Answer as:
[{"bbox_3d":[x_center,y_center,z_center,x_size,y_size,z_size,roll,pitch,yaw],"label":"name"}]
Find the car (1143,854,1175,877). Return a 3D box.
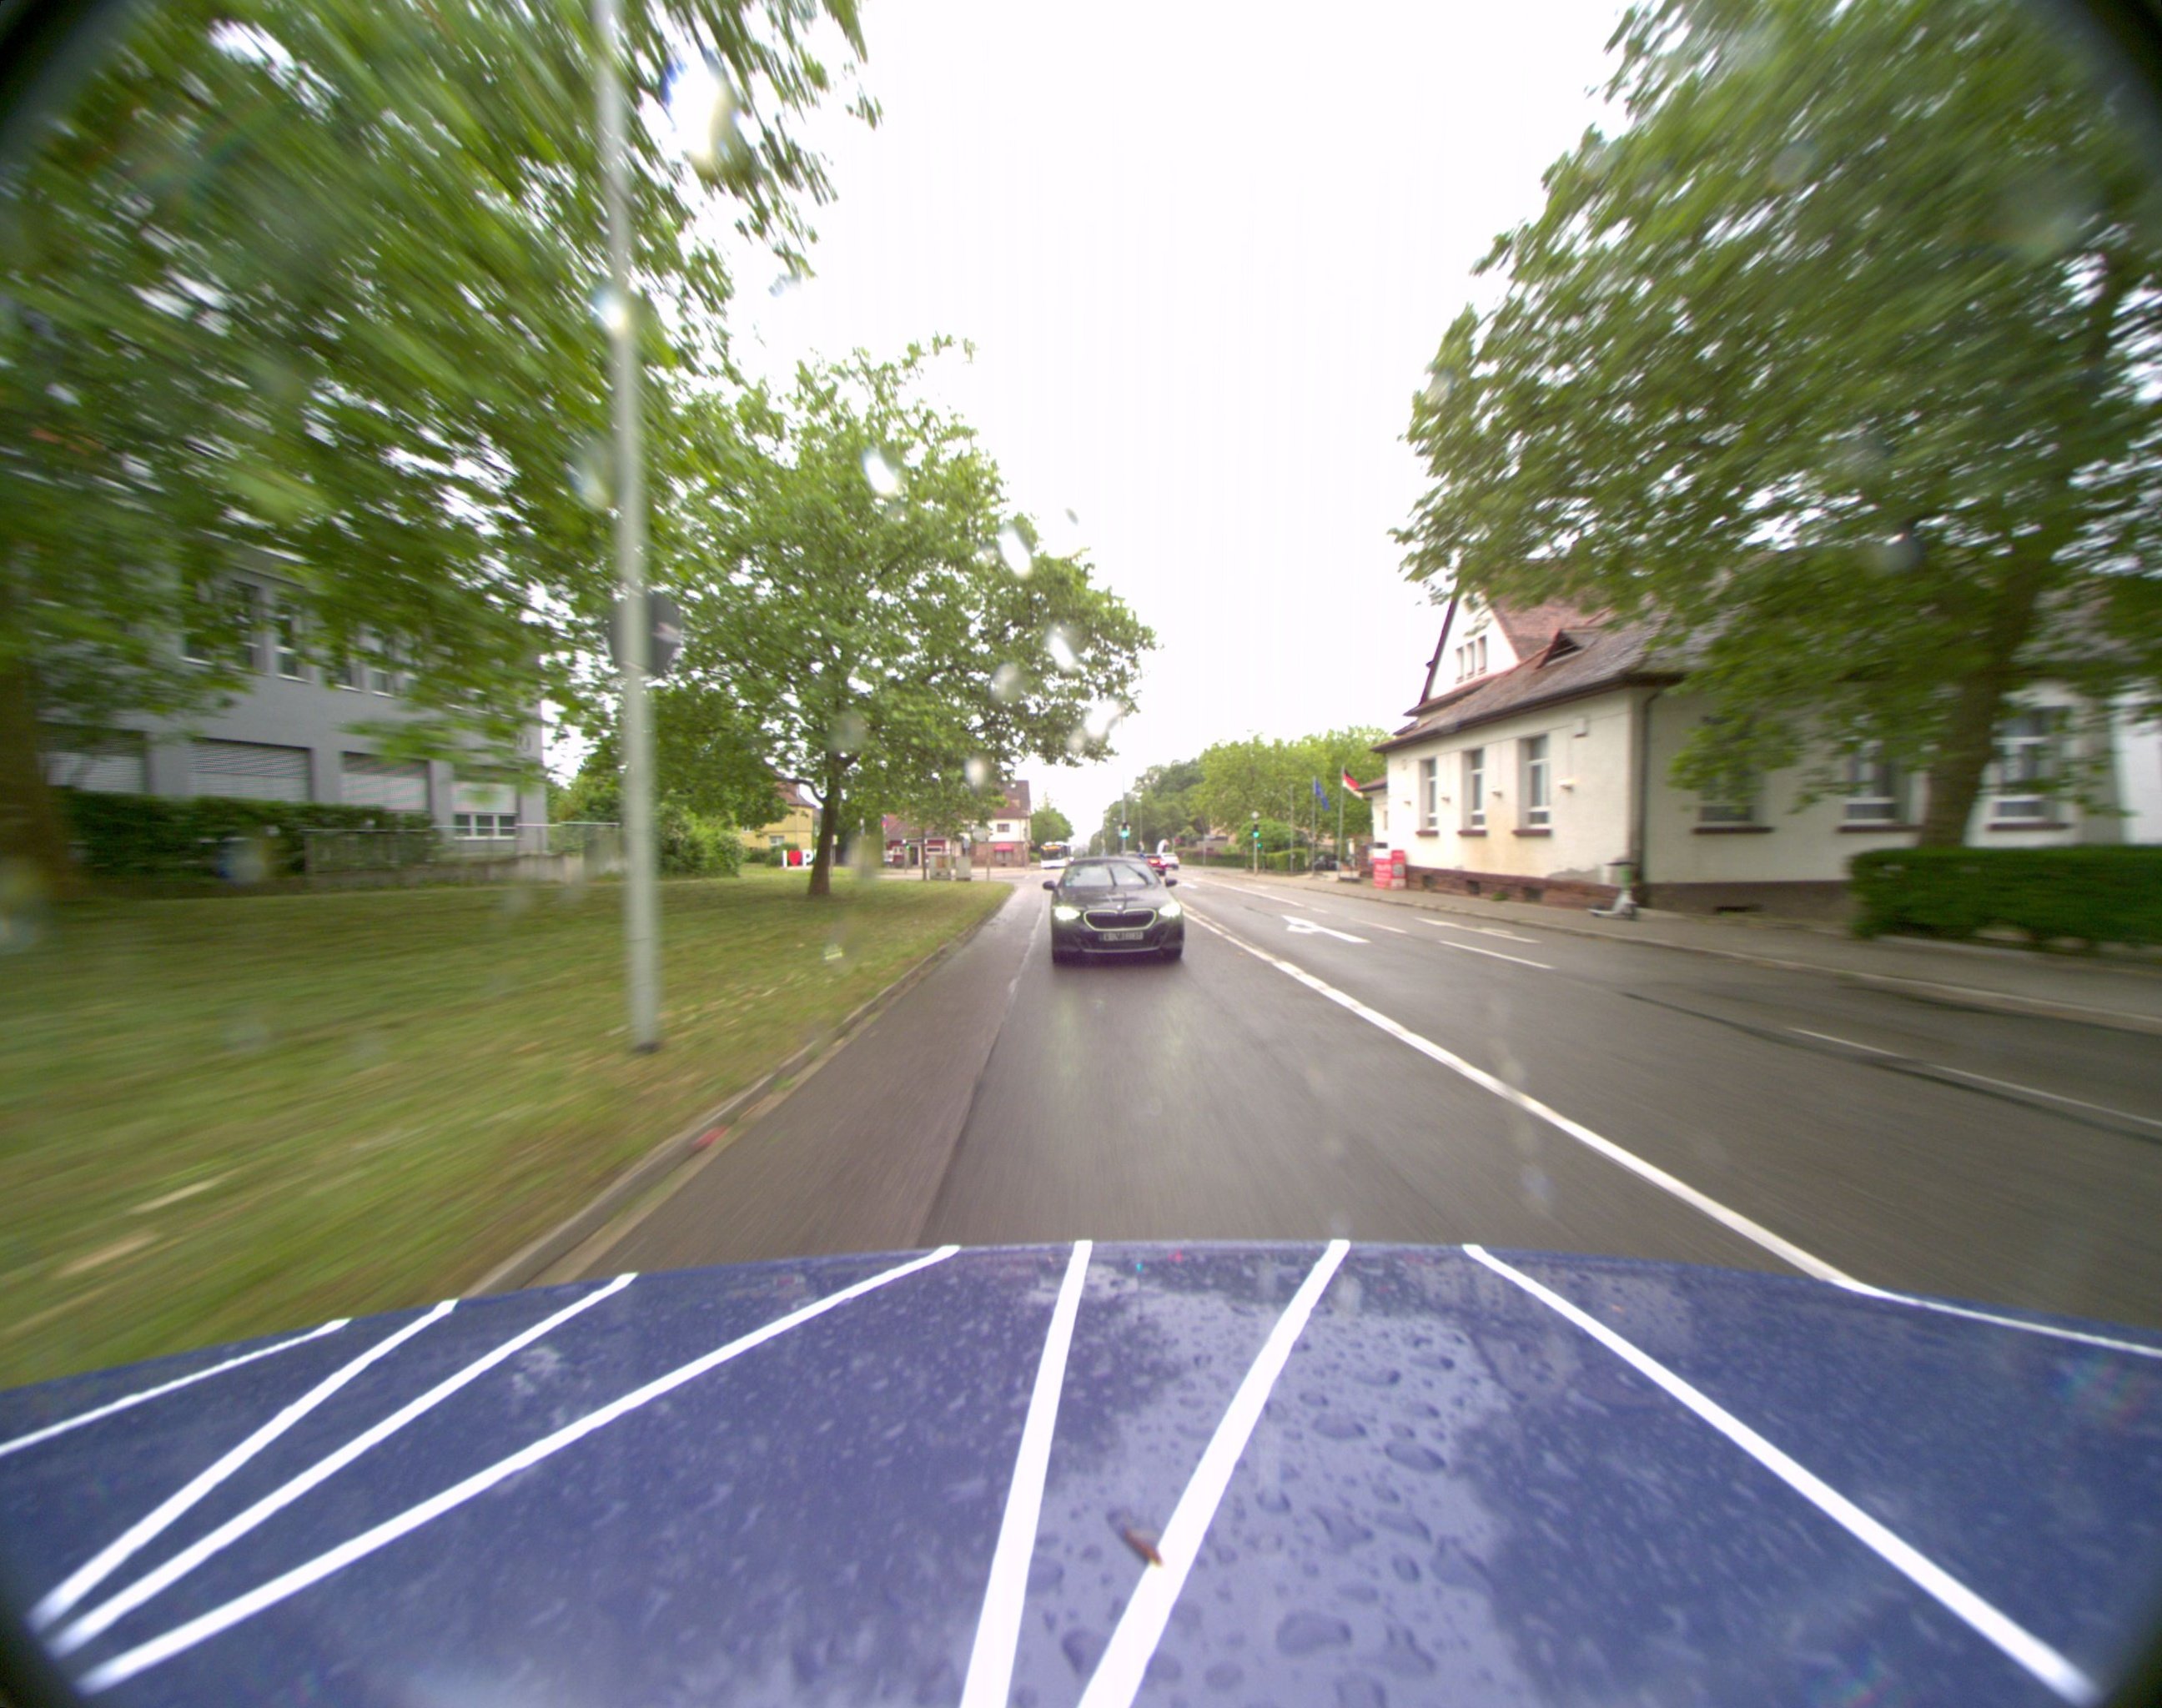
[{"bbox_3d":[5.292,0.765,51.351,1.997,1.420,4.390,1,0,6],"label":"car"}]

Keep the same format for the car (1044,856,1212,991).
[{"bbox_3d":[0.471,0.839,11.210,1.999,1.586,4.146,-1,0,-3],"label":"car"}]

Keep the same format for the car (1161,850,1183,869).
[{"bbox_3d":[8.698,0.537,72.899,1.998,1.674,4.000,1,2,5],"label":"car"}]

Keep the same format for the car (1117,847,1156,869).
[{"bbox_3d":[4.355,0.323,60.295,2.000,1.652,4.299,0,0,-11],"label":"car"}]

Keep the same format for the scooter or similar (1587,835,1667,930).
[{"bbox_3d":[10.662,0.509,14.893,0.402,1.765,1.512,-1,2,-3],"label":"scooter or similar"}]

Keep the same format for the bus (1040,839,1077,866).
[{"bbox_3d":[-2.536,-0.234,89.294,2.896,2.770,10.388,-3,1,6],"label":"bus"}]
